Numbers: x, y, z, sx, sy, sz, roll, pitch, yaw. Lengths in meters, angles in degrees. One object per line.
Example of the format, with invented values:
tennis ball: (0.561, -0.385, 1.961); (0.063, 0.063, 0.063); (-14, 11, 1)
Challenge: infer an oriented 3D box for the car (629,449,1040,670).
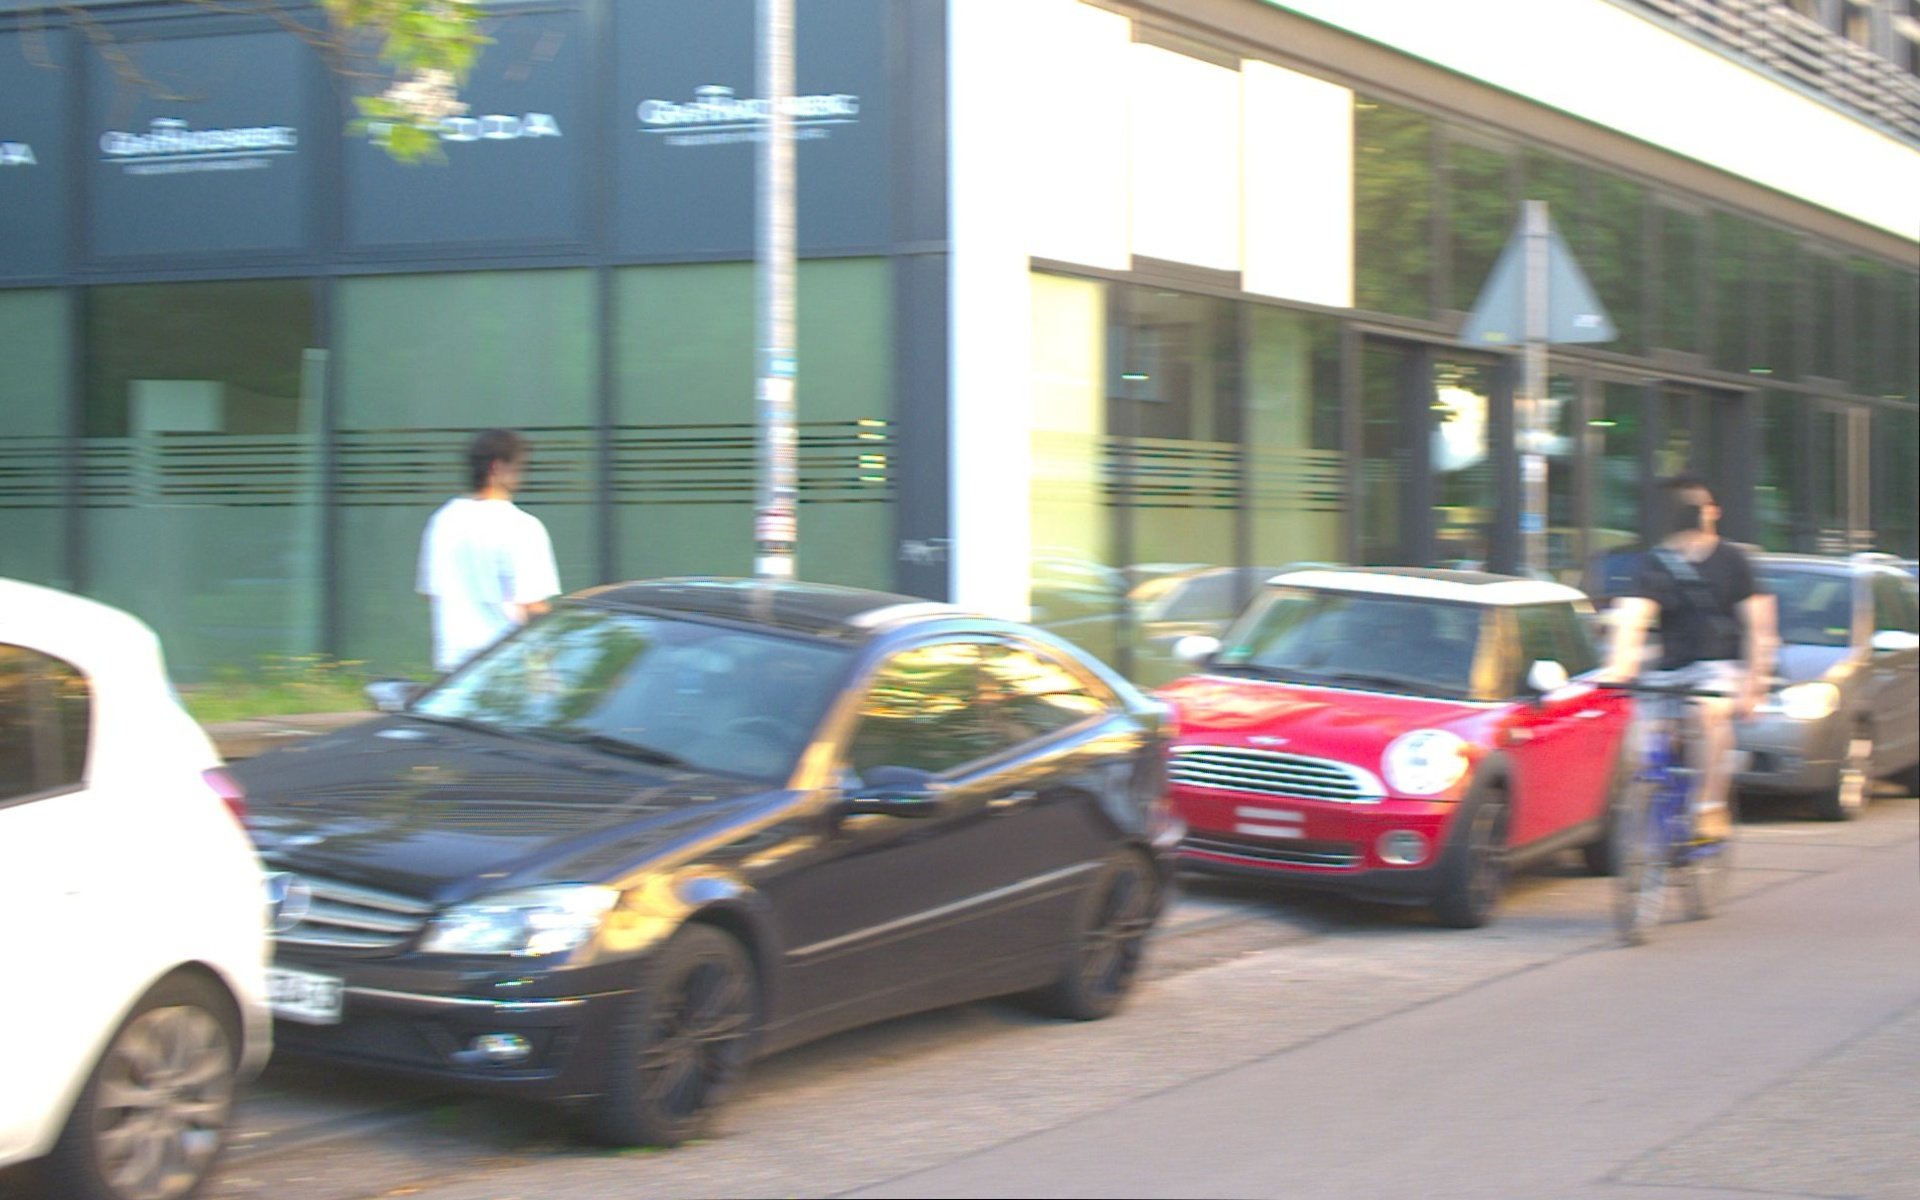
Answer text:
car: (-0.940, -0.340, 27.854); (1.700, 1.653, 3.732); (0, 1, 28)

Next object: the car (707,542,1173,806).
car: (-0.047, 0.439, 23.762); (1.595, 1.644, 3.871); (0, 1, 27)

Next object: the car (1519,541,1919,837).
car: (4.926, 0.458, 21.049); (1.664, 1.492, 3.878); (6, 4, 28)

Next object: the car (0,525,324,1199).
car: (-3.013, 0.629, 6.592); (1.663, 1.509, 3.880); (3, 3, 22)

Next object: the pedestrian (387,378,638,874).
pedestrian: (-1.741, 0.090, 13.413); (0.722, 1.872, 0.619); (0, 1, 29)

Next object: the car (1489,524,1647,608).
car: (9.662, -0.553, 54.484); (1.422, 1.250, 3.521); (0, 2, 28)

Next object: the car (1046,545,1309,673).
car: (2.658, 0.073, 41.148); (1.700, 1.429, 3.914); (0, 1, 28)

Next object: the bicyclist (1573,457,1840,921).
bicyclist: (3.045, 0.334, 13.966); (0.859, 1.802, 1.015); (0, 1, 24)

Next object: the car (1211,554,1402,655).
car: (4.663, 0.035, 45.984); (1.422, 1.250, 3.209); (0, 2, 28)

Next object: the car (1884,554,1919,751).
car: (9.484, 0.385, 29.662); (1.940, 1.591, 4.198); (0, 2, 29)

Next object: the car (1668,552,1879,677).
car: (10.255, 0.150, 43.157); (1.700, 1.468, 3.776); (0, 1, 28)

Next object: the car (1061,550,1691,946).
car: (2.036, 0.557, 15.775); (1.664, 1.406, 3.922); (6, 4, 24)

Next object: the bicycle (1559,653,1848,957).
bicycle: (3.053, 0.796, 13.980); (0.760, 1.093, 1.862); (-2, 0, 24)

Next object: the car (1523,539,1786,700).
car: (7.772, 0.168, 38.189); (1.700, 1.653, 4.403); (0, 1, 28)

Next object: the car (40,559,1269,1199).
car: (-0.677, 0.670, 10.747); (1.664, 1.411, 4.407); (6, 4, 27)

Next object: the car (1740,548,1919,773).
car: (7.123, 0.401, 25.204); (1.731, 1.398, 4.001); (6, 4, 26)

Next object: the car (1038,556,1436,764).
car: (2.326, 0.421, 27.814); (1.700, 1.509, 4.186); (0, 1, 28)
